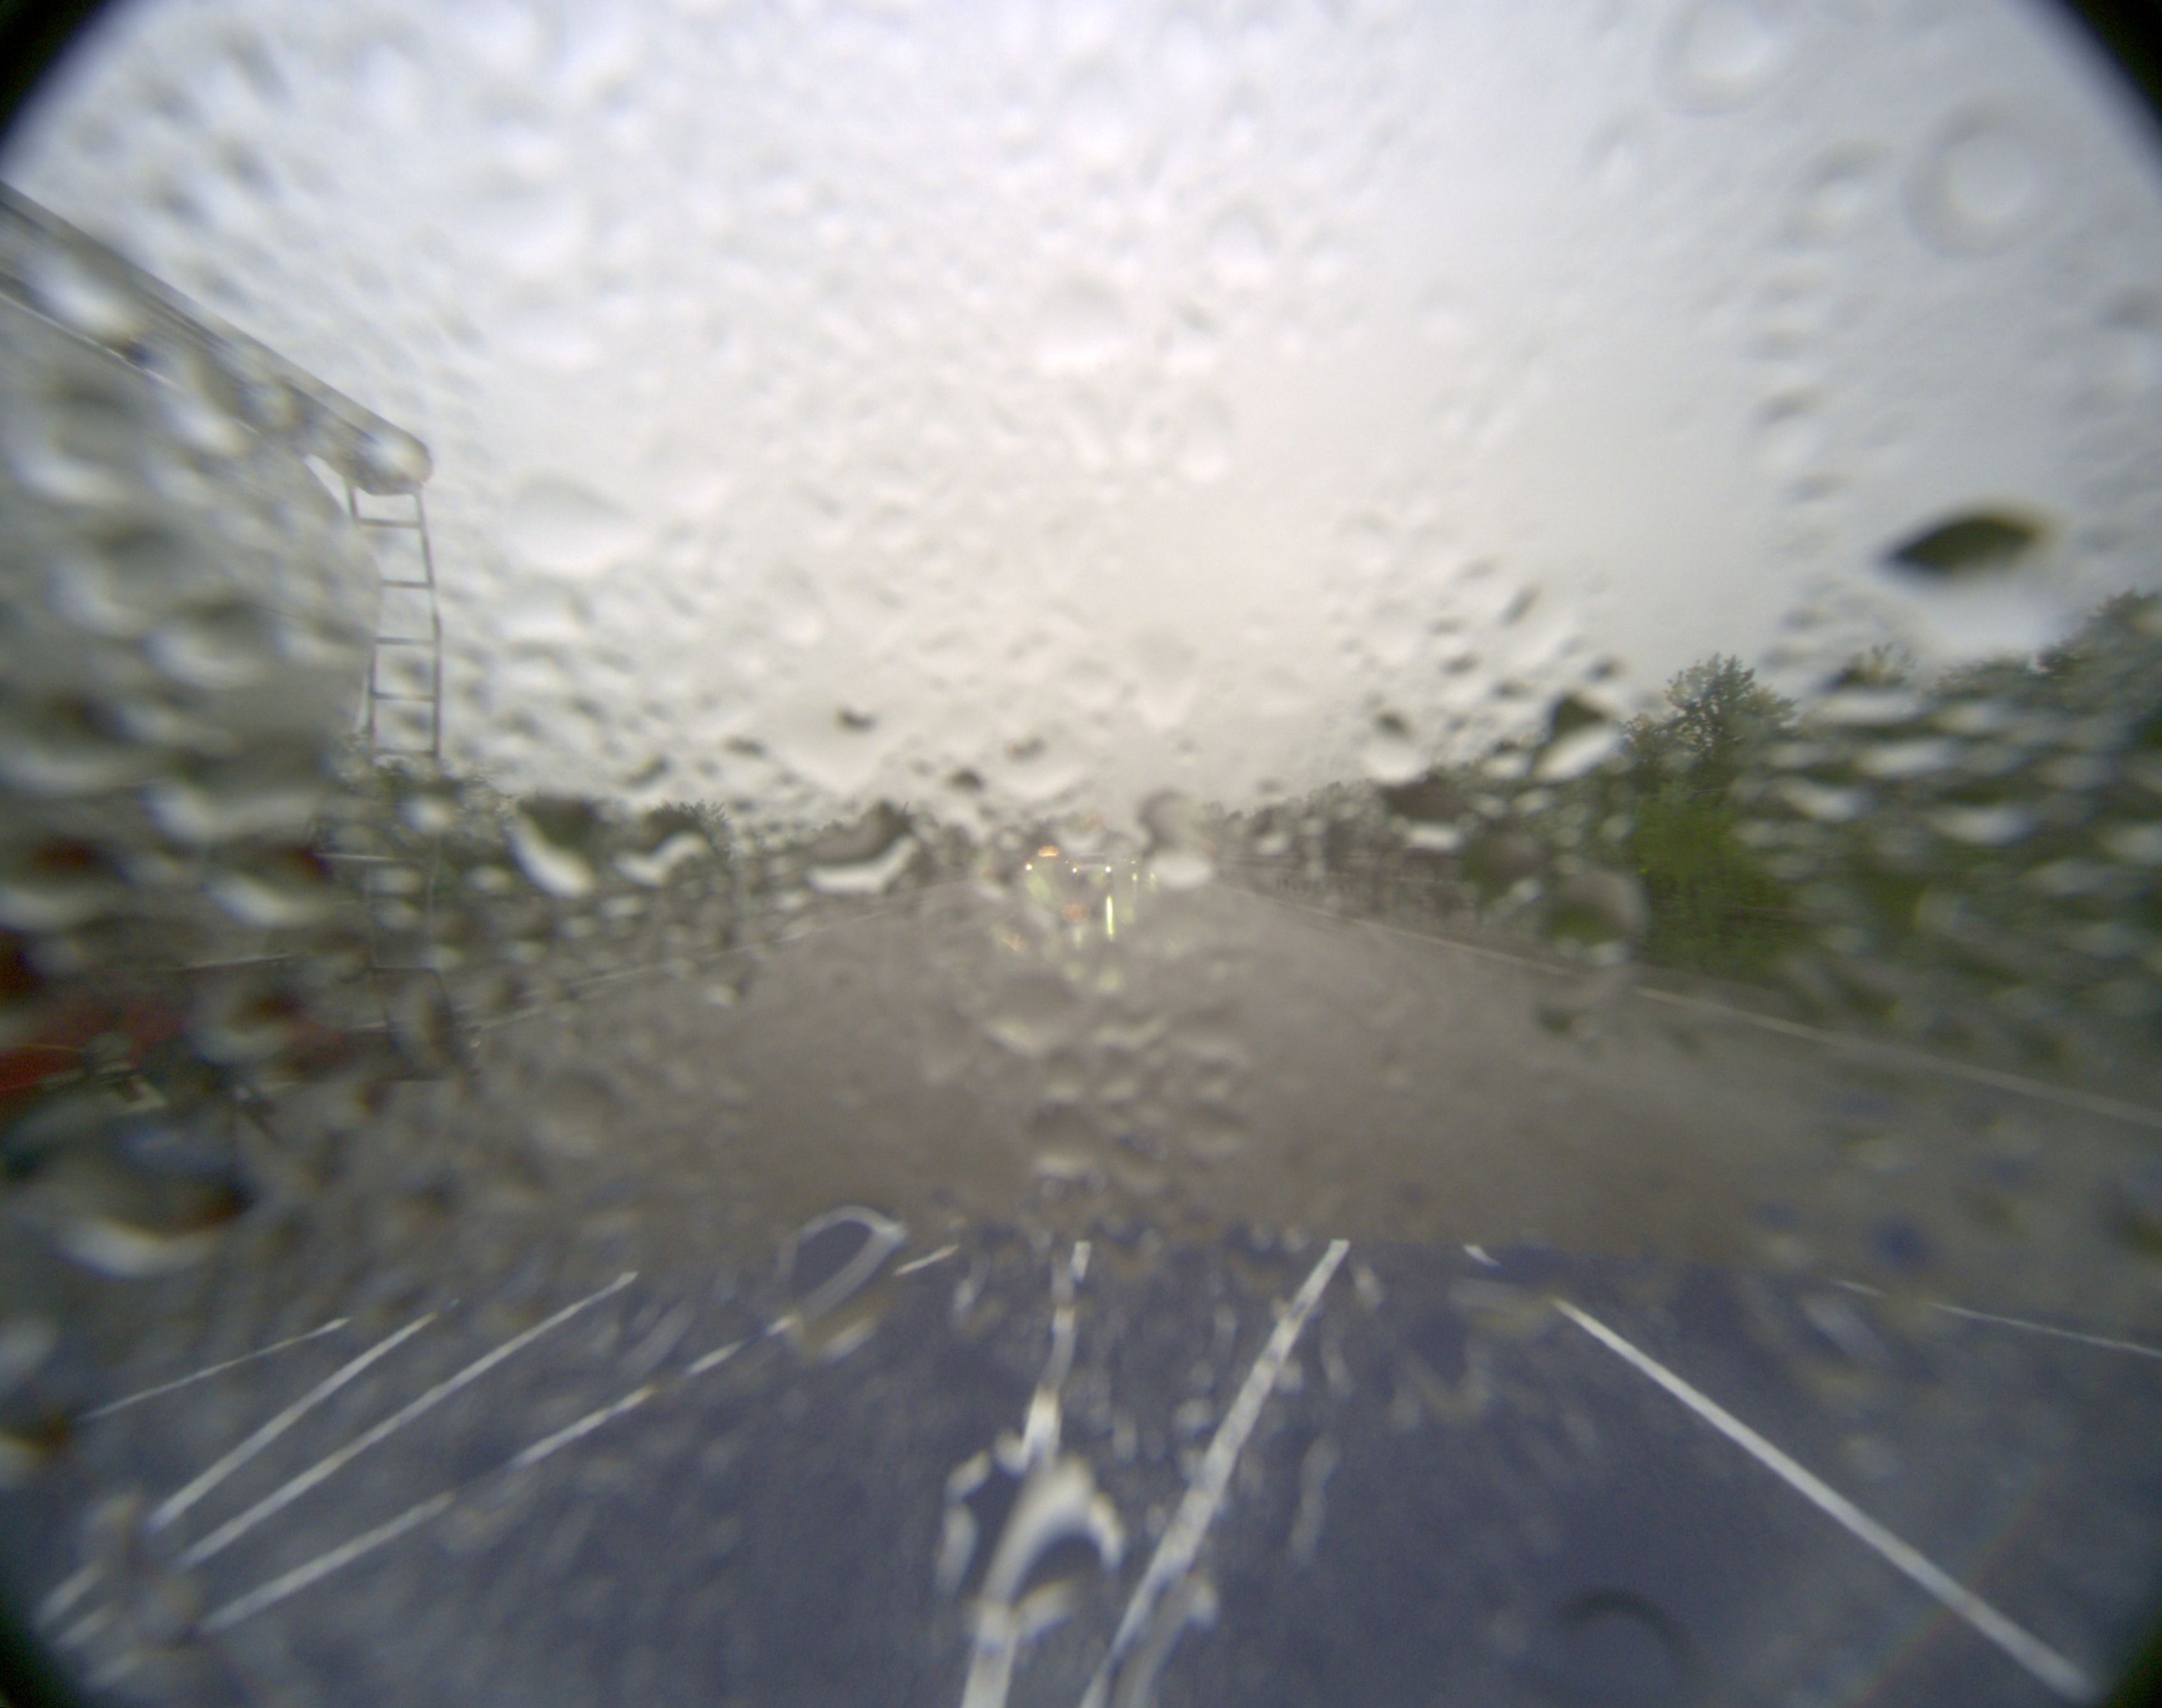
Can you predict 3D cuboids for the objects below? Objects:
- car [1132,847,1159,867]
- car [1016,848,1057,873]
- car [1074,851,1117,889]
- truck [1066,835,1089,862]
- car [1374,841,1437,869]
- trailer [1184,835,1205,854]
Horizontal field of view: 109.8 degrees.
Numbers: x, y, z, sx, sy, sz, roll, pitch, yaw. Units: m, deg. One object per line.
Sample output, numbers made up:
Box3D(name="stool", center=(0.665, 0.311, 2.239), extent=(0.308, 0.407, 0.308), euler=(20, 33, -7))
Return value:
Box3D(name="car", center=(5.457, 0.220, 64.374), extent=(1.900, 1.533, 4.090), euler=(-2, 0, 0))
Box3D(name="car", center=(-3.314, 0.483, 57.877), extent=(2.463, 1.736, 5.719), euler=(-2, 0, 2))
Box3D(name="car", center=(0.709, 0.674, 34.382), extent=(1.751, 1.545, 4.091), euler=(-2, 0, 3))
Box3D(name="truck", center=(-0.533, -0.906, 119.466), extent=(2.754, 4.055, 6.484), euler=(-2, 1, 5))
Box3D(name="car", center=(17.198, 0.035, 40.481), extent=(1.752, 1.375, 3.741), euler=(-2, 0, 1))
Box3D(name="trailer", center=(30.177, -2.460, 202.554), extent=(3.878, 4.668, 12.244), euler=(-2, 0, 2))
